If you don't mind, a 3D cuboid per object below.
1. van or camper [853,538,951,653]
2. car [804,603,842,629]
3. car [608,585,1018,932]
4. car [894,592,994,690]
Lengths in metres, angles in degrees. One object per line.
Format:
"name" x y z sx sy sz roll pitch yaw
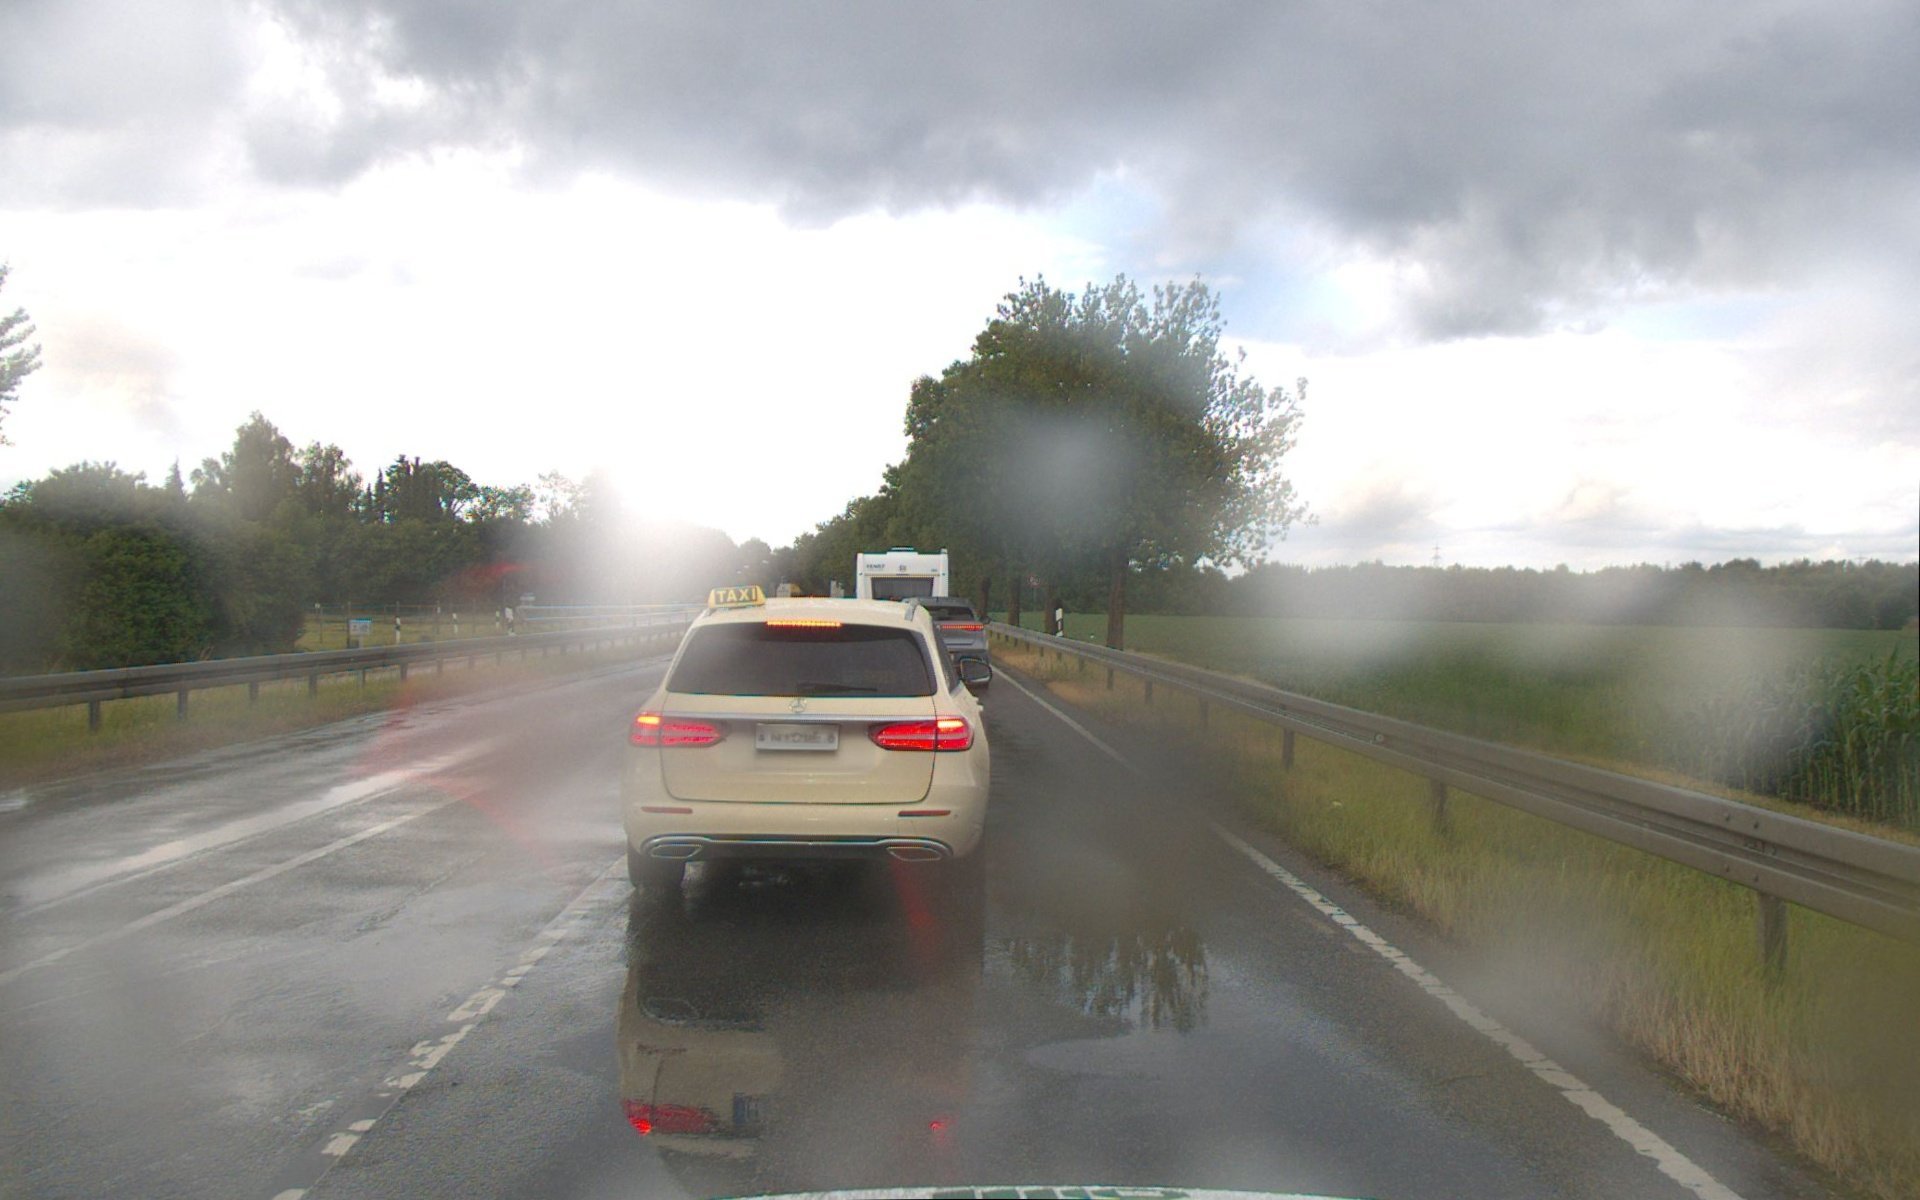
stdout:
"van or camper" -1.451 -0.131 42.472 2.303 2.727 5.767 1 0 -1
"car" -7.086 0.816 85.973 1.723 1.291 3.999 1 0 -1
"car" -0.644 0.693 9.295 1.787 1.511 4.145 0 0 0
"car" -0.303 0.655 28.658 1.594 1.556 3.931 1 0 -1
